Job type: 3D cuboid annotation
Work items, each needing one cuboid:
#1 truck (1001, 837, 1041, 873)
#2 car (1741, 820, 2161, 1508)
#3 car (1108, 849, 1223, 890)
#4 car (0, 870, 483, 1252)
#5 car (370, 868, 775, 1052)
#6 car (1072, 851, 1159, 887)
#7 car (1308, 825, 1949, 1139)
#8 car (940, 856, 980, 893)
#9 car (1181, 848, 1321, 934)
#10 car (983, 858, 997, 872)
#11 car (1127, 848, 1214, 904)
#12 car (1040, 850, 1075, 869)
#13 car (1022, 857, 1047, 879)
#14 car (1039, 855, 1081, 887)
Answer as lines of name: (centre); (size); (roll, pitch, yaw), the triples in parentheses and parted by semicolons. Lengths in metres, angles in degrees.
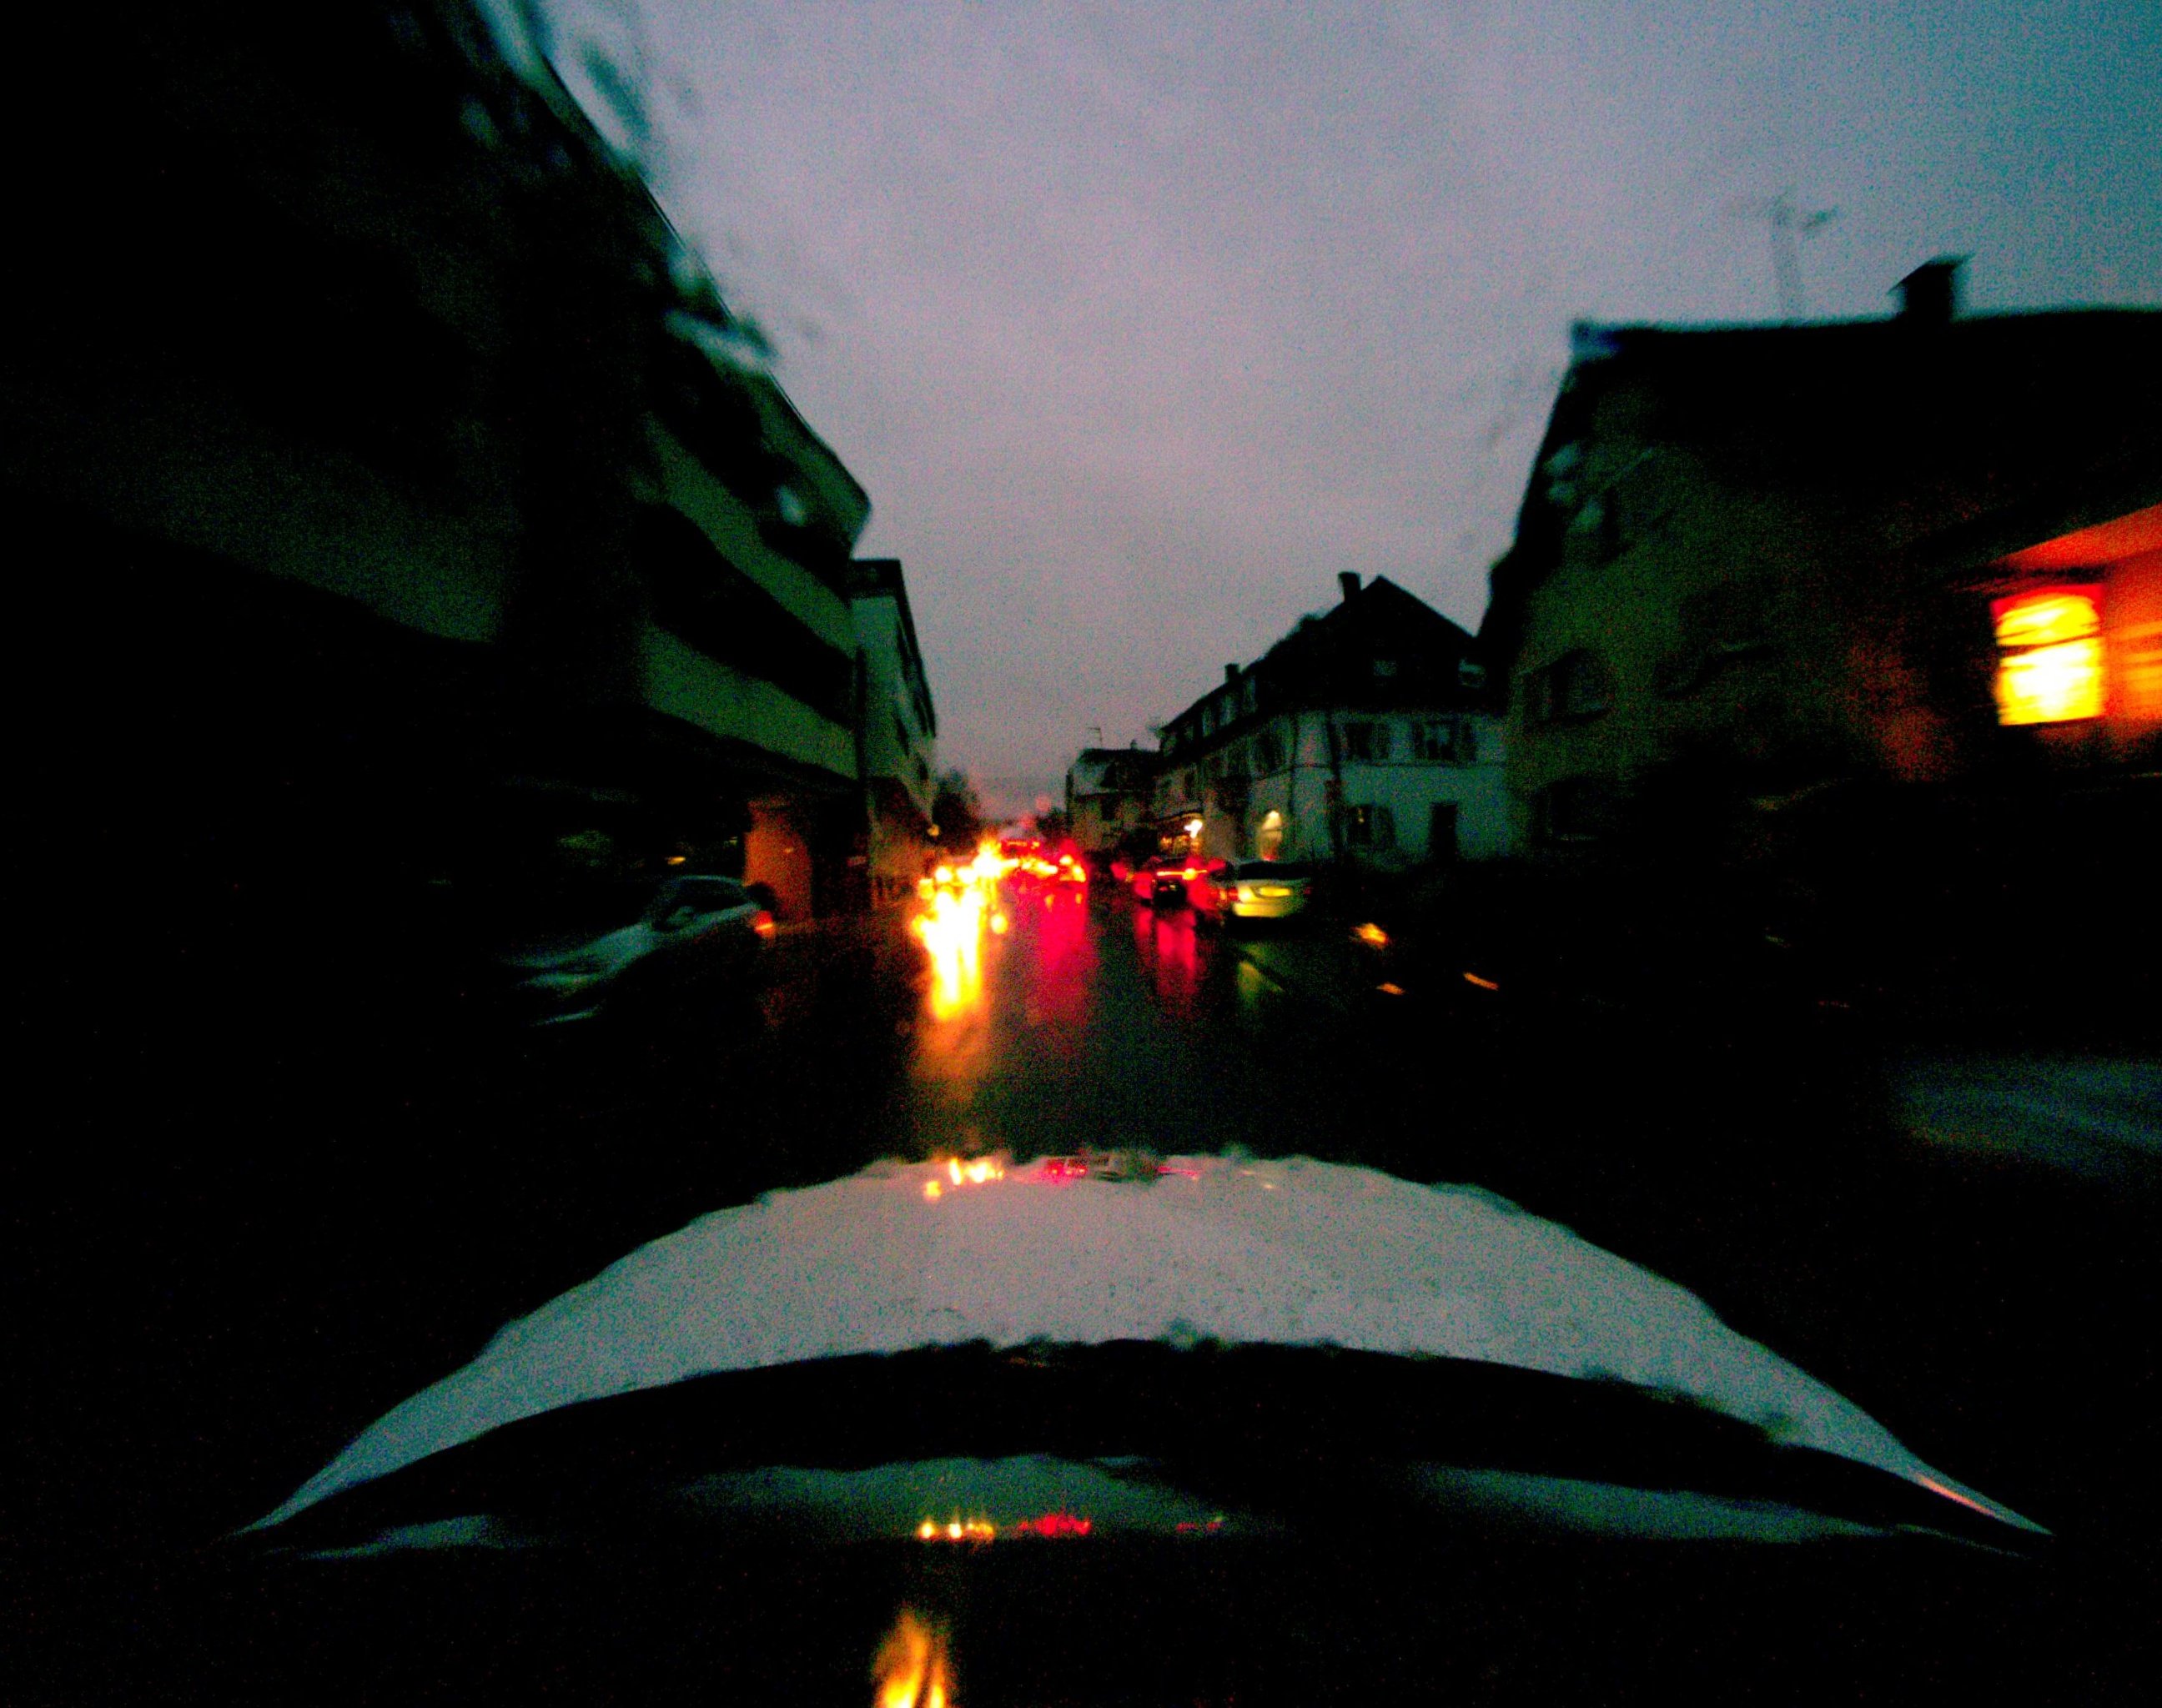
truck: (-5.712, 0.101, 75.982); (3.015, 3.128, 7.974); (-1, 0, -9)
car: (3.058, 0.642, 0.909); (1.620, 1.441, 3.803); (-4, 0, 3)
car: (3.518, 0.628, 34.333); (4.465, 1.473, 1.892); (-3, 0, -9)
car: (-5.264, 0.886, 4.033); (1.609, 1.533, 3.930); (0, 0, 2)
car: (-5.048, 0.914, 8.974); (1.670, 1.446, 4.427); (0, 0, 0)
car: (1.935, 0.831, 46.419); (4.606, 1.775, 1.938); (-2, 0, -12)
car: (3.356, 0.642, 6.338); (1.817, 1.423, 4.607); (-4, 0, 0)
car: (-5.795, 0.935, 39.408); (1.792, 1.642, 3.803); (0, 0, -7)
car: (3.375, 0.678, 17.051); (1.790, 1.460, 4.527); (-3, 0, -2)
car: (-10.844, 1.315, 97.387); (1.636, 1.535, 3.398); (-1, 0, -6)
car: (2.755, 0.646, 26.039); (1.879, 1.547, 4.664); (-3, 0, -4)
car: (-2.767, 0.619, 95.884); (4.084, 2.163, 1.913); (-1, 0, -1)
car: (-3.358, 0.999, 58.358); (1.636, 1.481, 3.263); (-1, 0, -7)
car: (-1.054, 0.811, 39.805); (1.637, 1.481, 3.369); (-1, -1, -8)
